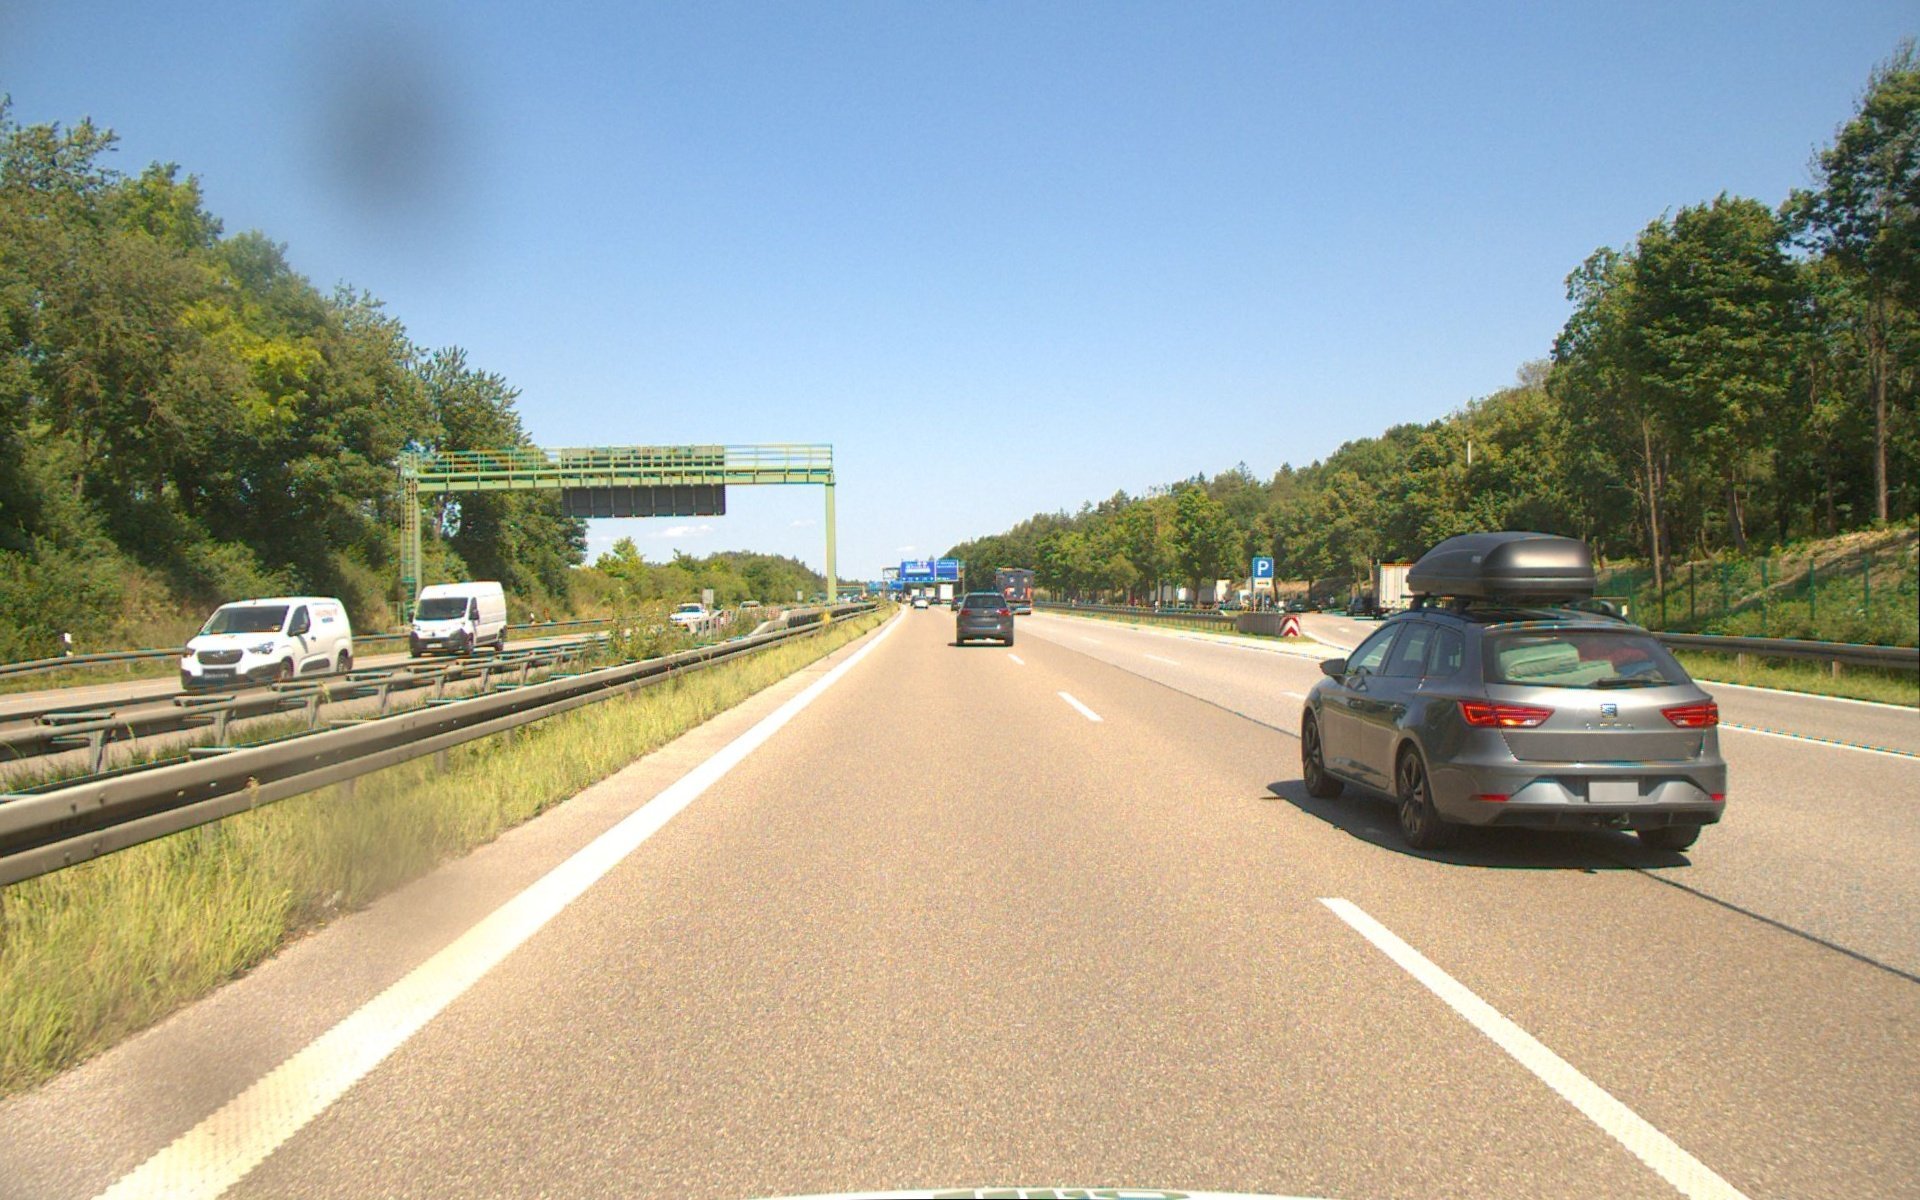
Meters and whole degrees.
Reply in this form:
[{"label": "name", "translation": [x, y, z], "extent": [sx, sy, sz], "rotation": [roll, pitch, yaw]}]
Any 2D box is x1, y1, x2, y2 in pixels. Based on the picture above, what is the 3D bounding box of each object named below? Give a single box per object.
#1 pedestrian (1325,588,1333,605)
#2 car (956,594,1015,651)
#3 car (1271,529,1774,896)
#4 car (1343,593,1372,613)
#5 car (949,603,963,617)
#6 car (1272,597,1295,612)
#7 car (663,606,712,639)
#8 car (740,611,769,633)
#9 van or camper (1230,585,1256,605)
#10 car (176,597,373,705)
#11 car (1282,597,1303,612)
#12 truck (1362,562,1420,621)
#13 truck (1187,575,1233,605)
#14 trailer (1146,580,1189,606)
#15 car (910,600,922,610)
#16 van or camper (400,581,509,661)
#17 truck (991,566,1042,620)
[{"label": "pedestrian", "translation": [37.813, -0.361, 169.674], "extent": [0.781, 1.813, 0.643], "rotation": [-1, 0, 12]}, {"label": "car", "translation": [0.809, 0.675, 51.919], "extent": [1.762, 1.698, 4.259], "rotation": [1, 0, 1]}, {"label": "car", "translation": [3.465, 0.582, 11.250], "extent": [1.631, 1.909, 4.826], "rotation": [-2, 0, -1]}, {"label": "car", "translation": [34.495, 0.250, 143.510], "extent": [1.951, 1.680, 4.322], "rotation": [-1, 0, 7]}, {"label": "car", "translation": [-0.419, 1.045, 175.497], "extent": [1.441, 1.422, 3.409], "rotation": [2, 0, -1]}, {"label": "car", "translation": [36.846, 0.493, 188.508], "extent": [1.622, 1.705, 4.651], "rotation": [0, 0, 0]}, {"label": "car", "translation": [-14.723, 1.177, 89.664], "extent": [1.840, 1.638, 5.308], "rotation": [-2, 0, -1]}, {"label": "car", "translation": [-15.293, 1.609, 123.227], "extent": [1.632, 1.489, 3.881], "rotation": [-3, 0, -1]}, {"label": "van or camper", "translation": [36.125, -0.617, 211.216], "extent": [2.159, 2.575, 5.874], "rotation": [0, 0, -1]}, {"label": "car", "translation": [-13.262, 0.919, 32.367], "extent": [1.710, 1.862, 5.167], "rotation": [-2, 0, -1]}, {"label": "car", "translation": [36.609, 0.437, 181.970], "extent": [1.951, 1.601, 4.003], "rotation": [-1, 0, 7]}, {"label": "truck", "translation": [31.160, -0.632, 119.913], "extent": [3.215, 4.016, 9.359], "rotation": [-1, 0, 9]}, {"label": "truck", "translation": [34.997, -1.306, 232.142], "extent": [2.938, 4.000, 14.441], "rotation": [0, 0, -6]}, {"label": "trailer", "translation": [31.644, -0.974, 253.031], "extent": [2.805, 3.863, 14.161], "rotation": [0, 0, -9]}, {"label": "car", "translation": [-5.276, 0.601, 198.184], "extent": [1.441, 1.249, 3.409], "rotation": [-1, 0, -1]}, {"label": "van or camper", "translation": [-17.861, 0.692, 58.810], "extent": [1.997, 2.604, 6.197], "rotation": [-2, 0, -1]}, {"label": "truck", "translation": [4.897, -0.615, 145.687], "extent": [3.703, 4.499, 14.046], "rotation": [0, 0, -1]}]
